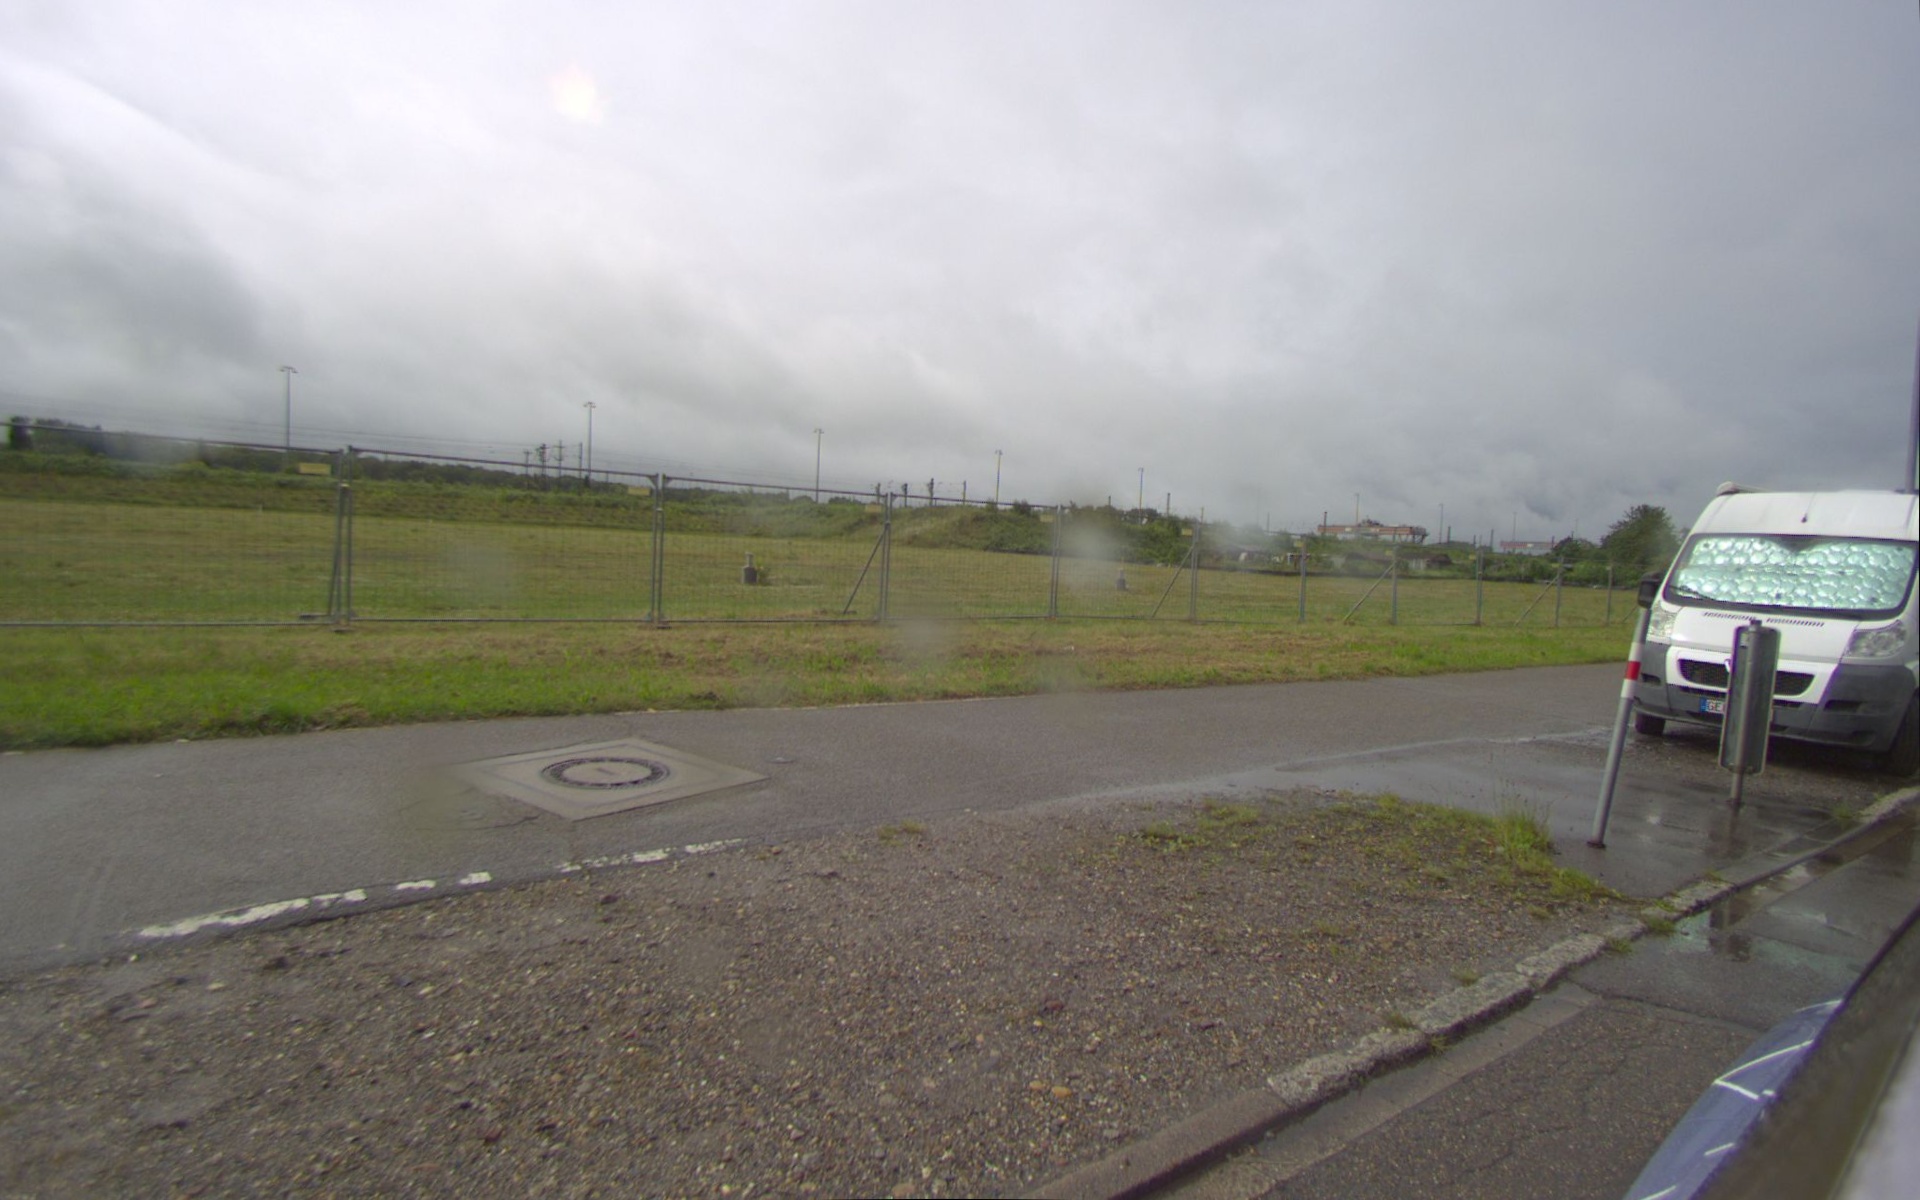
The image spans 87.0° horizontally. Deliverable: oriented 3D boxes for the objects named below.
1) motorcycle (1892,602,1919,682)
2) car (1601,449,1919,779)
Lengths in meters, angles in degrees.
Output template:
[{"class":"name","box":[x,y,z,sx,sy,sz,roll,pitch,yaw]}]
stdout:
[{"class":"motorcycle","box":[15.700,0.748,15.645,1.664,1.208,0.642,8,6,32]},{"class":"car","box":[8.986,0.035,10.243,5.836,2.501,2.100,1,5,-37]}]
